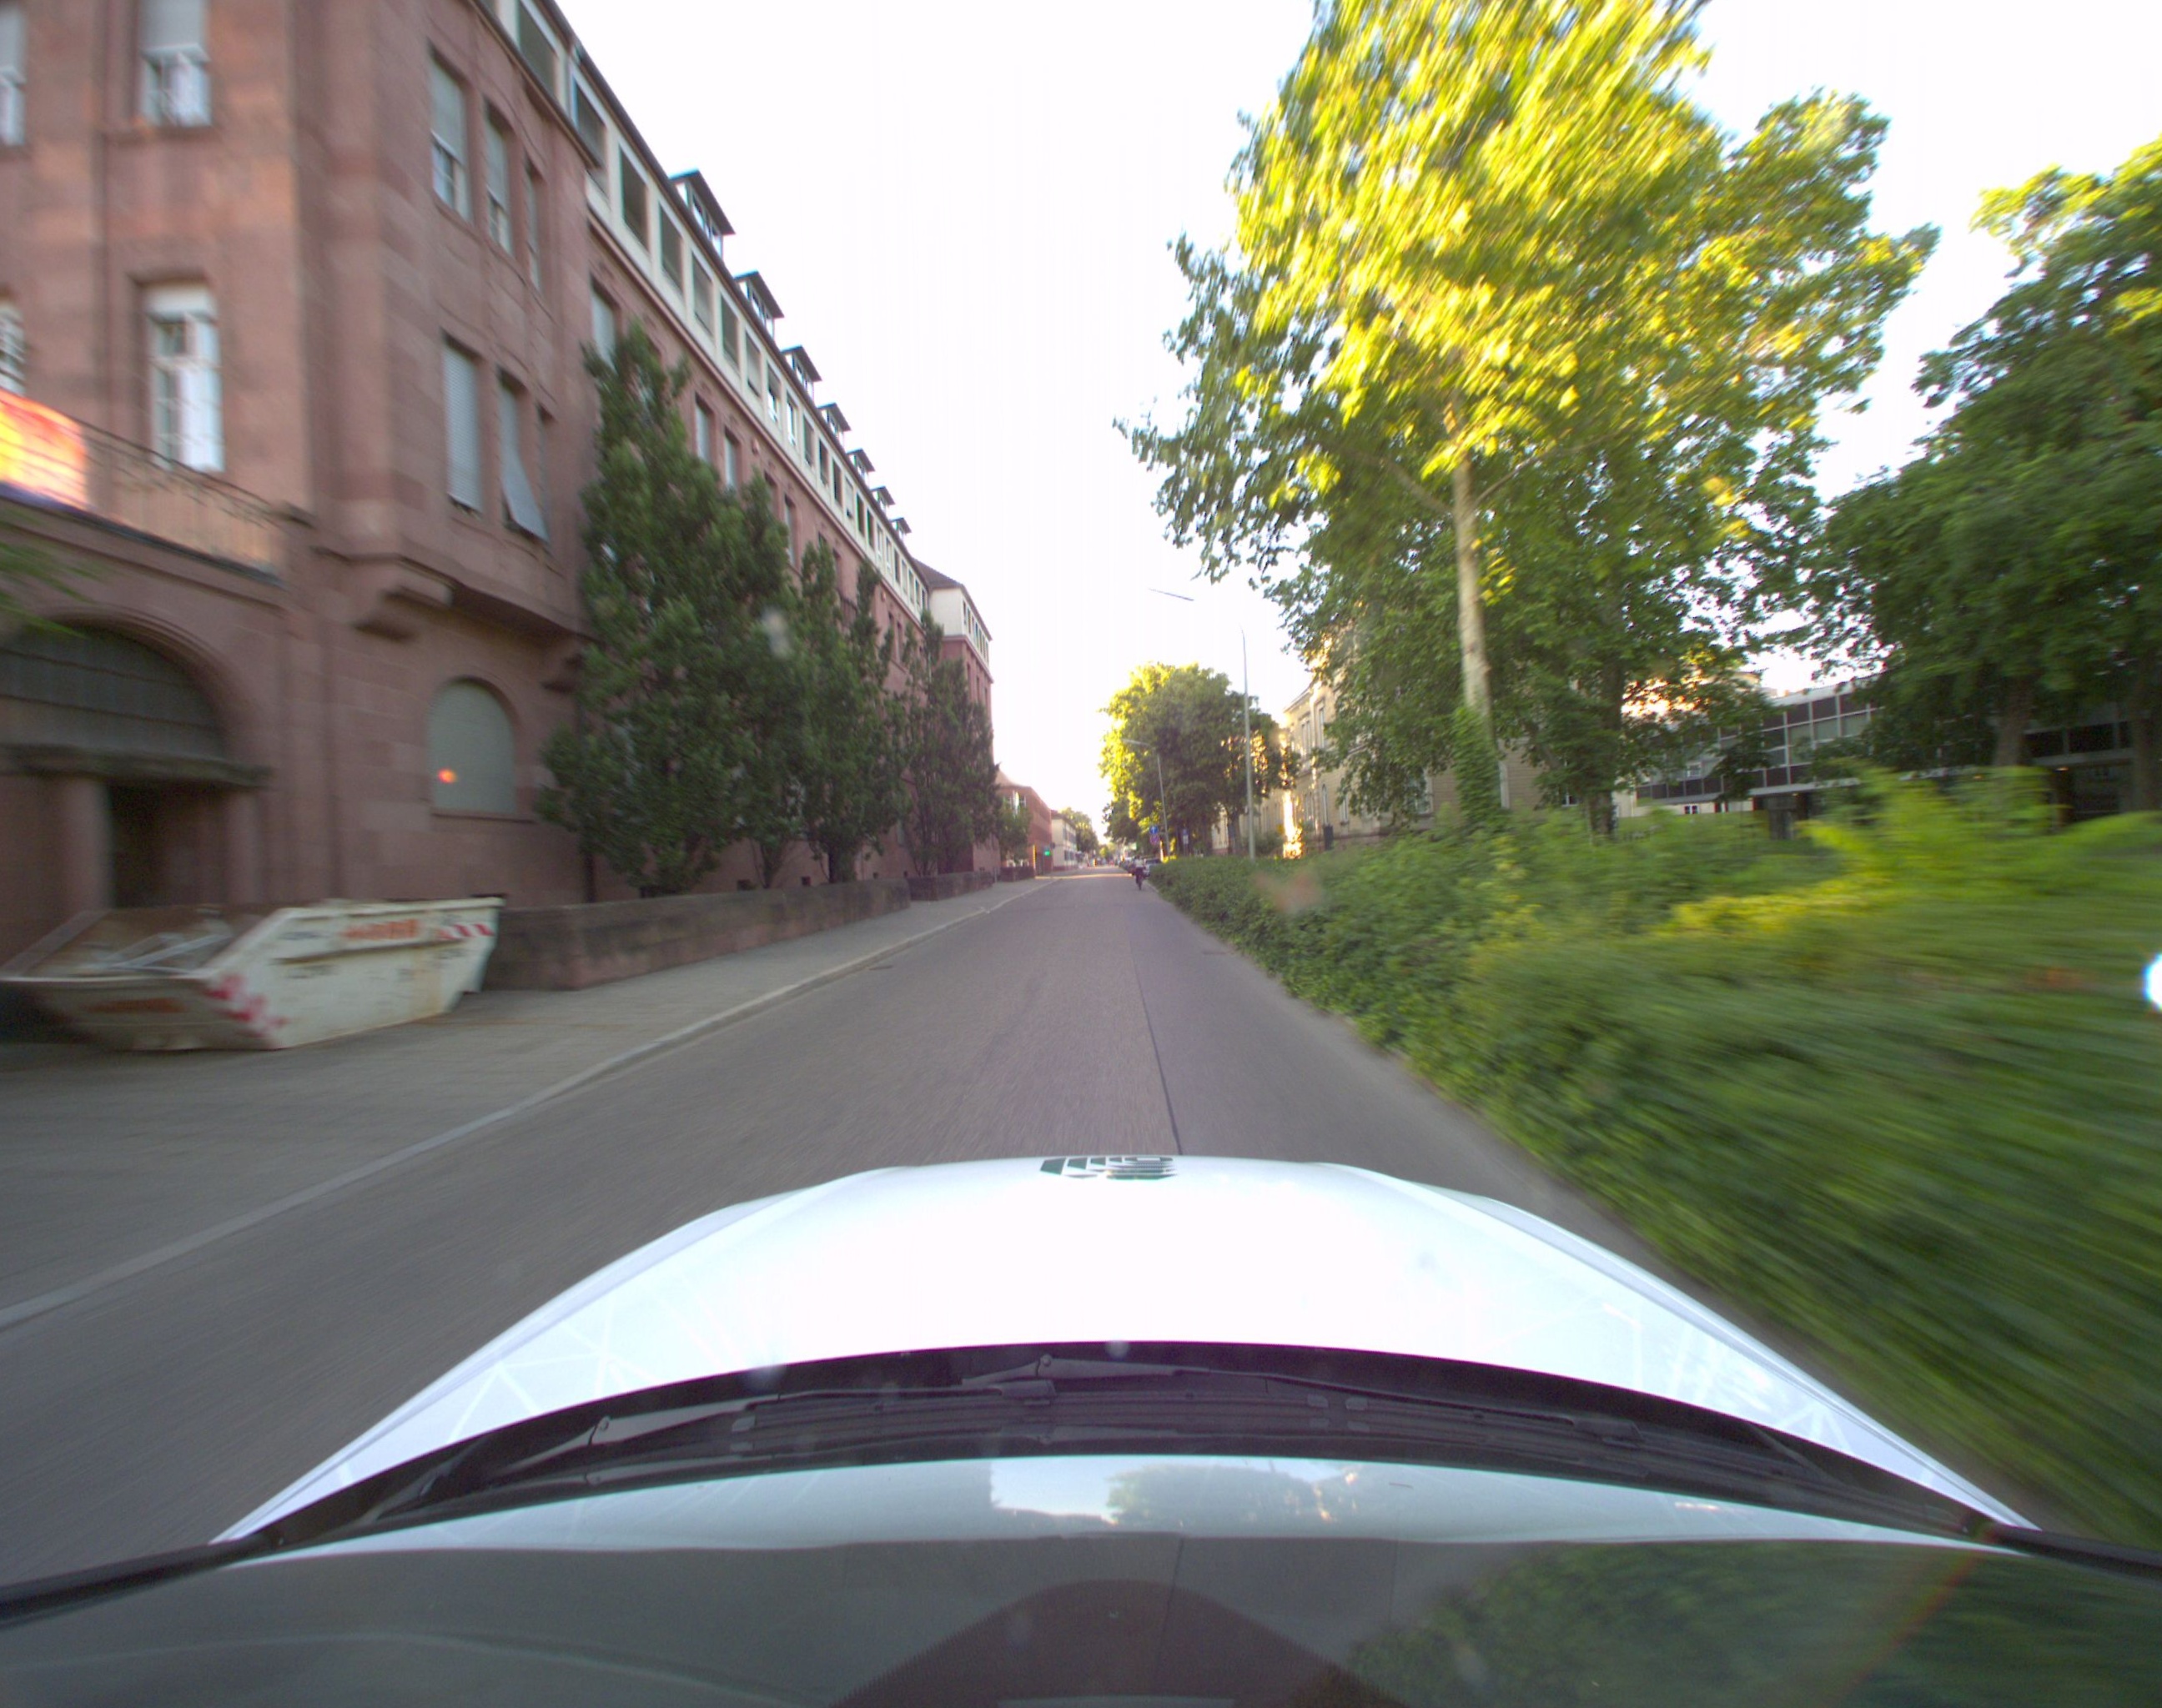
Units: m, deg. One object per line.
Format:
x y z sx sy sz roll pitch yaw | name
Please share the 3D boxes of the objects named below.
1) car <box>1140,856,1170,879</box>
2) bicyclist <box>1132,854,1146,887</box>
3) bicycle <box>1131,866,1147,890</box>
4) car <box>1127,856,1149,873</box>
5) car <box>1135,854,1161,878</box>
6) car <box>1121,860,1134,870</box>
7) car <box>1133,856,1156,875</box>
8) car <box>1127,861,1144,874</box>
5.182 0.969 57.558 1.680 1.447 3.671 -5 -1 0 | car
2.962 0.854 41.740 0.637 1.667 0.842 -1 -1 0 | bicyclist
2.969 1.208 41.835 0.636 1.193 1.876 -1 0 0 | bicycle
6.090 1.119 87.253 1.987 1.706 4.000 -4 -1 1 | car
5.179 0.905 63.504 1.709 1.712 4.475 -3 -1 3 | car
8.306 1.941 145.669 1.987 1.749 4.000 -4 -1 1 | car
5.528 1.009 71.265 1.710 1.538 4.048 -3 -1 0 | car
7.212 1.779 107.660 1.987 1.585 4.000 -4 -1 1 | car
